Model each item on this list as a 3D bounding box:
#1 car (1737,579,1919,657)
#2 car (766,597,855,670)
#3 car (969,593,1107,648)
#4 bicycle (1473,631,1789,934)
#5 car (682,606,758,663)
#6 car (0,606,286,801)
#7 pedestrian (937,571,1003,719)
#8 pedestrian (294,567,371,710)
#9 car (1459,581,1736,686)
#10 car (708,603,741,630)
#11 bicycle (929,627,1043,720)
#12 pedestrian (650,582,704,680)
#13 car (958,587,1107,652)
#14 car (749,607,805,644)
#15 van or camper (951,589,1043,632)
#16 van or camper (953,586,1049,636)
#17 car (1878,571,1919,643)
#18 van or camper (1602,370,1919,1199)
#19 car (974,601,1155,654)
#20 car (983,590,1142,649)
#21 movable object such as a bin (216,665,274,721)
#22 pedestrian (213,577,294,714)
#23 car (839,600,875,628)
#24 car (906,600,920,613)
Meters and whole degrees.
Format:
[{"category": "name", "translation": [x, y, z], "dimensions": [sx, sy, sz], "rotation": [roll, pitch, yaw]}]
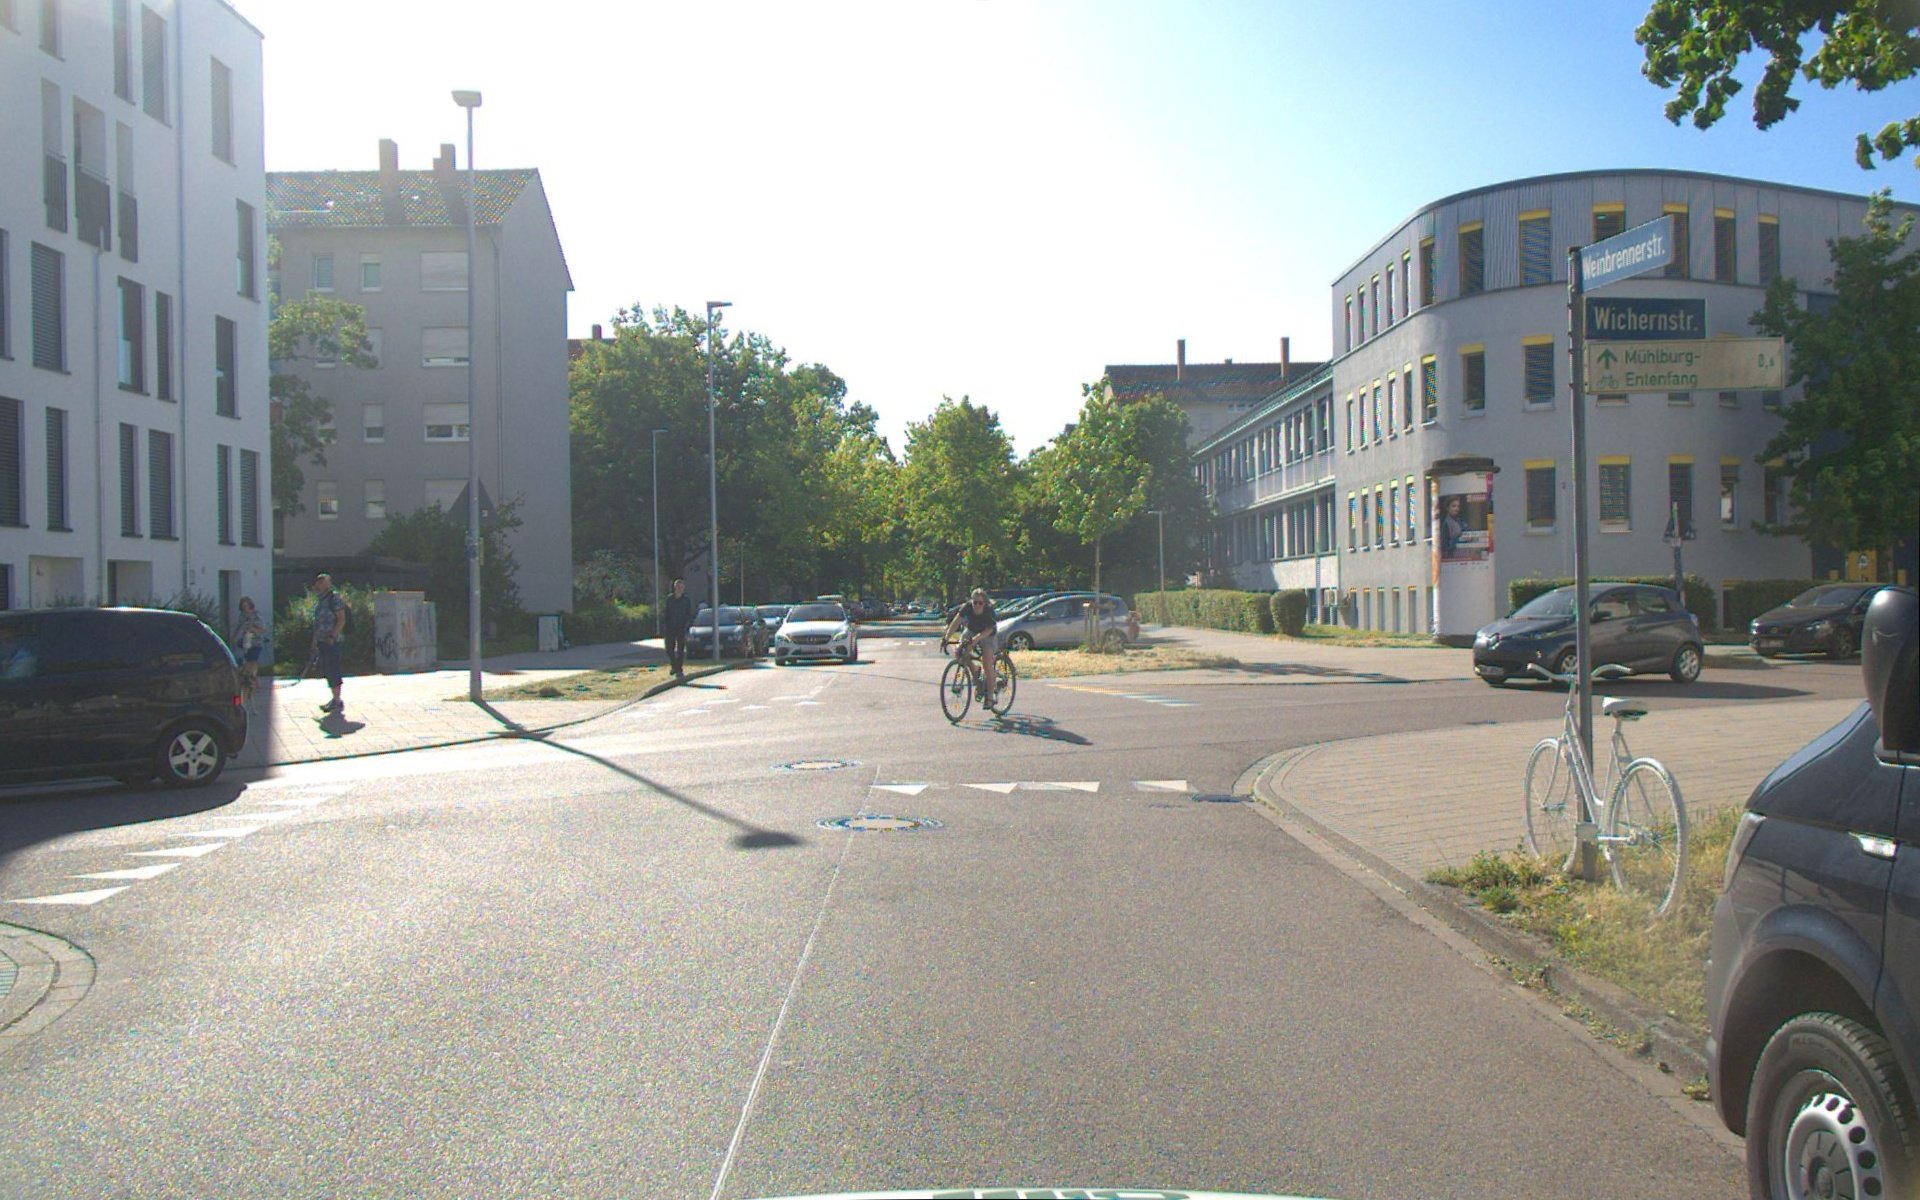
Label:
[{"category": "car", "translation": [17.729, 0.320, 33.181], "dimensions": [4.163, 1.435, 1.778], "rotation": [-1, 1, -29]}, {"category": "car", "translation": [-3.533, 0.750, 39.752], "dimensions": [1.847, 1.530, 4.637], "rotation": [-1, 1, -2]}, {"category": "car", "translation": [2.405, 0.644, 51.747], "dimensions": [4.120, 1.624, 1.999], "rotation": [1, -1, -3]}, {"category": "bicycle", "translation": [3.063, 0.762, 7.783], "dimensions": [0.517, 1.214, 2.028], "rotation": [-1, -1, -4]}, {"category": "car", "translation": [-6.466, 0.921, 44.867], "dimensions": [1.634, 1.445, 3.997], "rotation": [1, -1, -3]}, {"category": "car", "translation": [-8.102, 0.829, 14.015], "dimensions": [4.081, 1.557, 1.715], "rotation": [2, -1, -44]}, {"category": "pedestrian", "translation": [0.125, 0.516, 19.318], "dimensions": [0.675, 1.669, 1.047], "rotation": [1, -1, 4]}, {"category": "pedestrian", "translation": [-8.628, 0.527, 22.771], "dimensions": [0.829, 1.918, 0.789], "rotation": [1, -1, -11]}, {"category": "car", "translation": [10.006, 0.505, 25.923], "dimensions": [4.075, 1.530, 1.827], "rotation": [0, 0, -27]}, {"category": "car", "translation": [-11.874, 0.822, 83.525], "dimensions": [1.247, 1.246, 2.663], "rotation": [-1, 0, 1]}, {"category": "bicycle", "translation": [0.334, 0.847, 19.609], "dimensions": [0.538, 1.029, 1.916], "rotation": [-1, -1, 28]}, {"category": "pedestrian", "translation": [-5.179, 0.566, 30.272], "dimensions": [0.853, 1.744, 0.978], "rotation": [-1, 0, -5]}, {"category": "car", "translation": [2.104, 0.574, 48.920], "dimensions": [4.194, 1.795, 1.998], "rotation": [1, -1, -4]}, {"category": "car", "translation": [-6.641, 0.920, 60.203], "dimensions": [1.596, 1.255, 4.191], "rotation": [1, -1, -1]}, {"category": "van or camper", "translation": [1.584, 0.466, 72.287], "dimensions": [3.906, 1.803, 1.999], "rotation": [0, -1, -2]}, {"category": "van or camper", "translation": [1.702, 0.455, 69.492], "dimensions": [3.906, 2.049, 1.999], "rotation": [0, -1, -2]}, {"category": "car", "translation": [21.876, 0.124, 35.407], "dimensions": [4.317, 1.505, 1.896], "rotation": [0, 0, -29]}, {"category": "van or camper", "translation": [2.746, 0.525, 1.796], "dimensions": [1.949, 1.895, 5.386], "rotation": [1, -1, -1]}, {"category": "car", "translation": [2.860, 0.749, 45.739], "dimensions": [4.775, 1.296, 1.727], "rotation": [-2, -1, -5]}, {"category": "car", "translation": [2.684, 0.513, 43.699], "dimensions": [4.008, 1.518, 1.727], "rotation": [0, -1, -4]}, {"category": "movable object such as a bin", "translation": [-9.505, 1.228, 22.015], "dimensions": [0.265, 0.691, 0.850], "rotation": [-1, 0, 10]}, {"category": "pedestrian", "translation": [-11.423, 0.714, 26.754], "dimensions": [0.762, 2.157, 0.953], "rotation": [0, 1, 42]}, {"category": "car", "translation": [-7.663, 1.072, 123.278], "dimensions": [1.951, 2.049, 4.003], "rotation": [1, -1, 7]}, {"category": "car", "translation": [-6.708, 0.905, 236.739], "dimensions": [1.953, 1.778, 3.999], "rotation": [-1, 0, -2]}]
